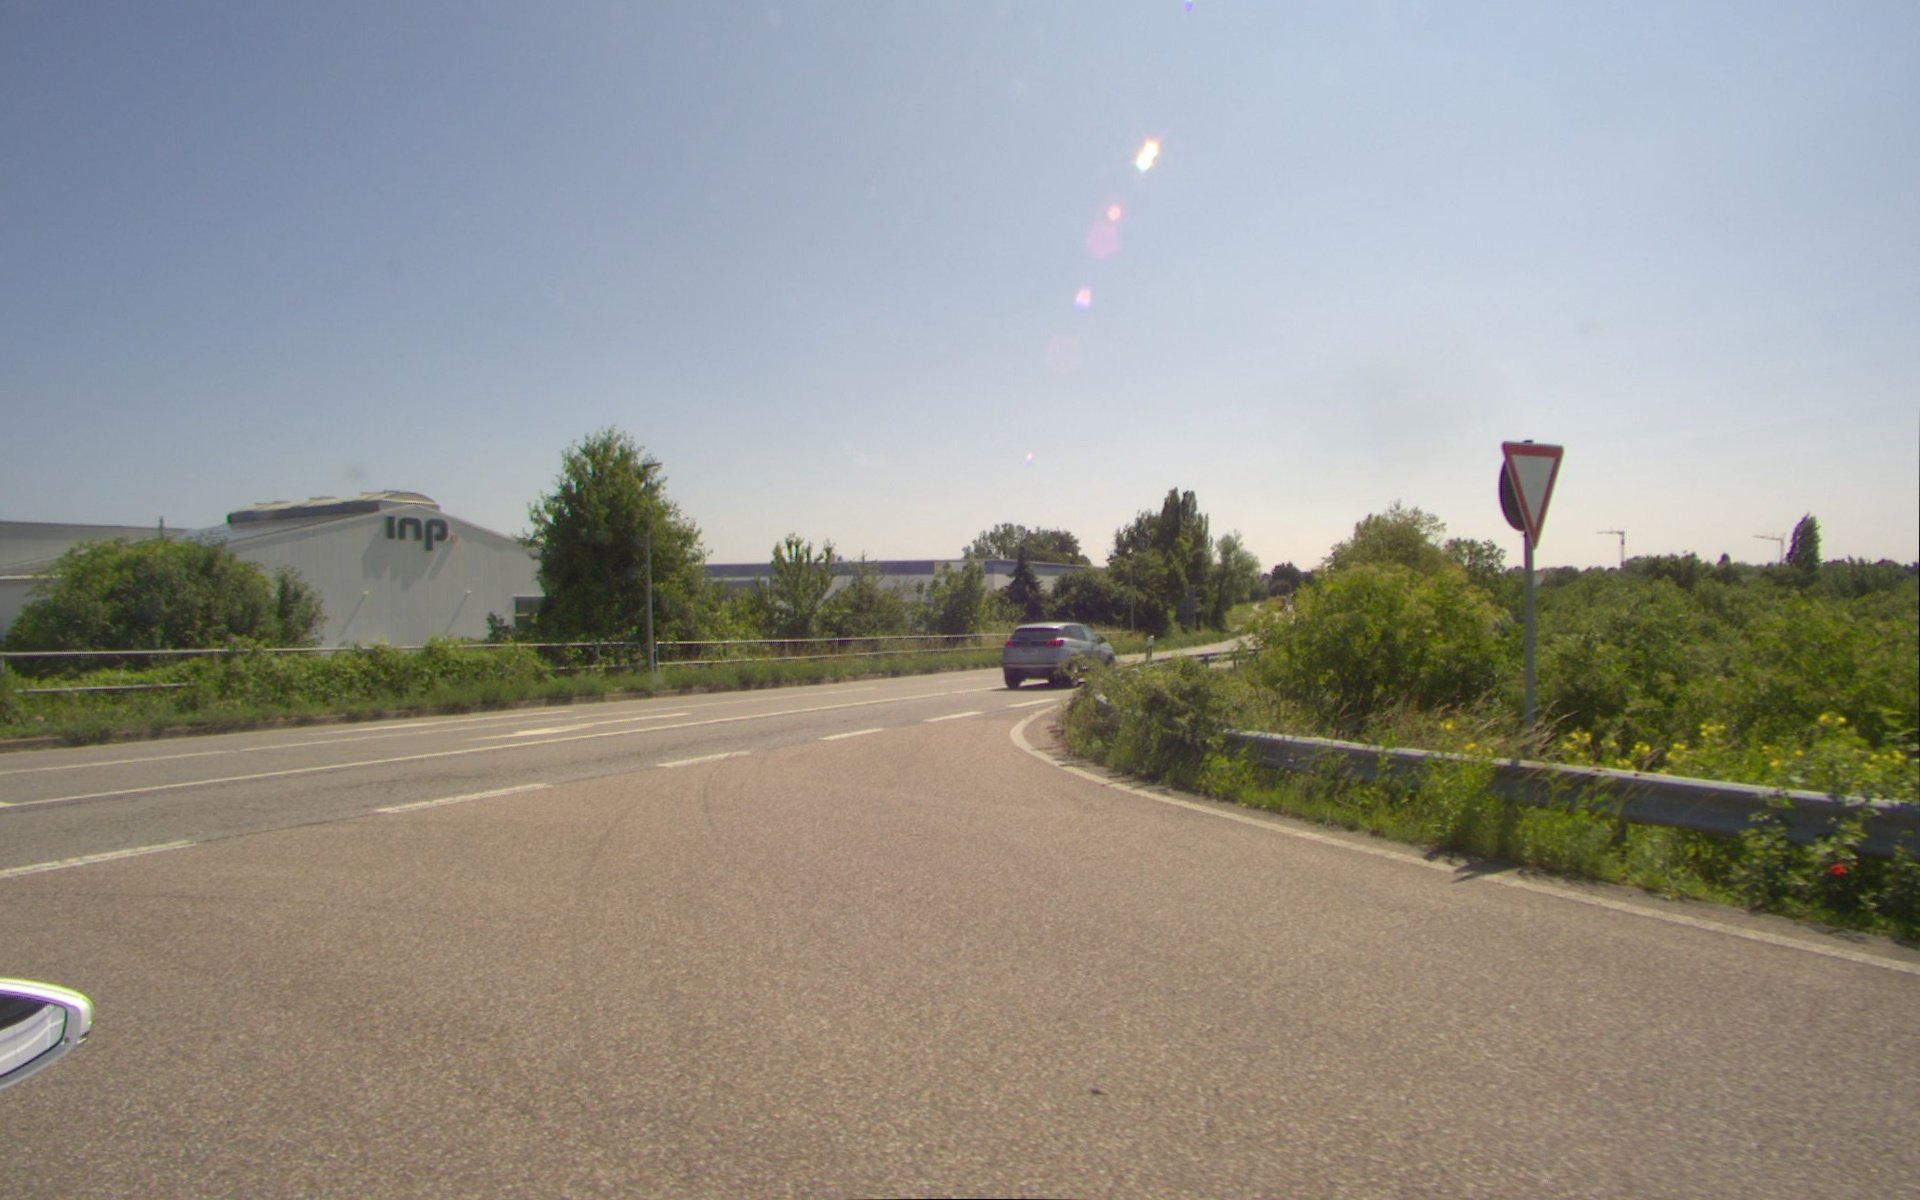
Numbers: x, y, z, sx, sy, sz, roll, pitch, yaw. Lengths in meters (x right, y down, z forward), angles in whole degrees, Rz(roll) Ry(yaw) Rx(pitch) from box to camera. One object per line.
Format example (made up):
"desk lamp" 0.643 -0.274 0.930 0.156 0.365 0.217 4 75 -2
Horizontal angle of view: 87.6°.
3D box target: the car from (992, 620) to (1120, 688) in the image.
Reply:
"car" 2.598 1.362 26.047 1.770 1.603 4.474 -1 -2 28

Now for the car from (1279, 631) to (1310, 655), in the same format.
"car" 23.214 2.943 69.406 1.503 1.593 3.656 -1 -1 27

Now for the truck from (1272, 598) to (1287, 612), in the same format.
"truck" 67.069 1.030 209.977 2.812 2.824 6.945 0 0 19
